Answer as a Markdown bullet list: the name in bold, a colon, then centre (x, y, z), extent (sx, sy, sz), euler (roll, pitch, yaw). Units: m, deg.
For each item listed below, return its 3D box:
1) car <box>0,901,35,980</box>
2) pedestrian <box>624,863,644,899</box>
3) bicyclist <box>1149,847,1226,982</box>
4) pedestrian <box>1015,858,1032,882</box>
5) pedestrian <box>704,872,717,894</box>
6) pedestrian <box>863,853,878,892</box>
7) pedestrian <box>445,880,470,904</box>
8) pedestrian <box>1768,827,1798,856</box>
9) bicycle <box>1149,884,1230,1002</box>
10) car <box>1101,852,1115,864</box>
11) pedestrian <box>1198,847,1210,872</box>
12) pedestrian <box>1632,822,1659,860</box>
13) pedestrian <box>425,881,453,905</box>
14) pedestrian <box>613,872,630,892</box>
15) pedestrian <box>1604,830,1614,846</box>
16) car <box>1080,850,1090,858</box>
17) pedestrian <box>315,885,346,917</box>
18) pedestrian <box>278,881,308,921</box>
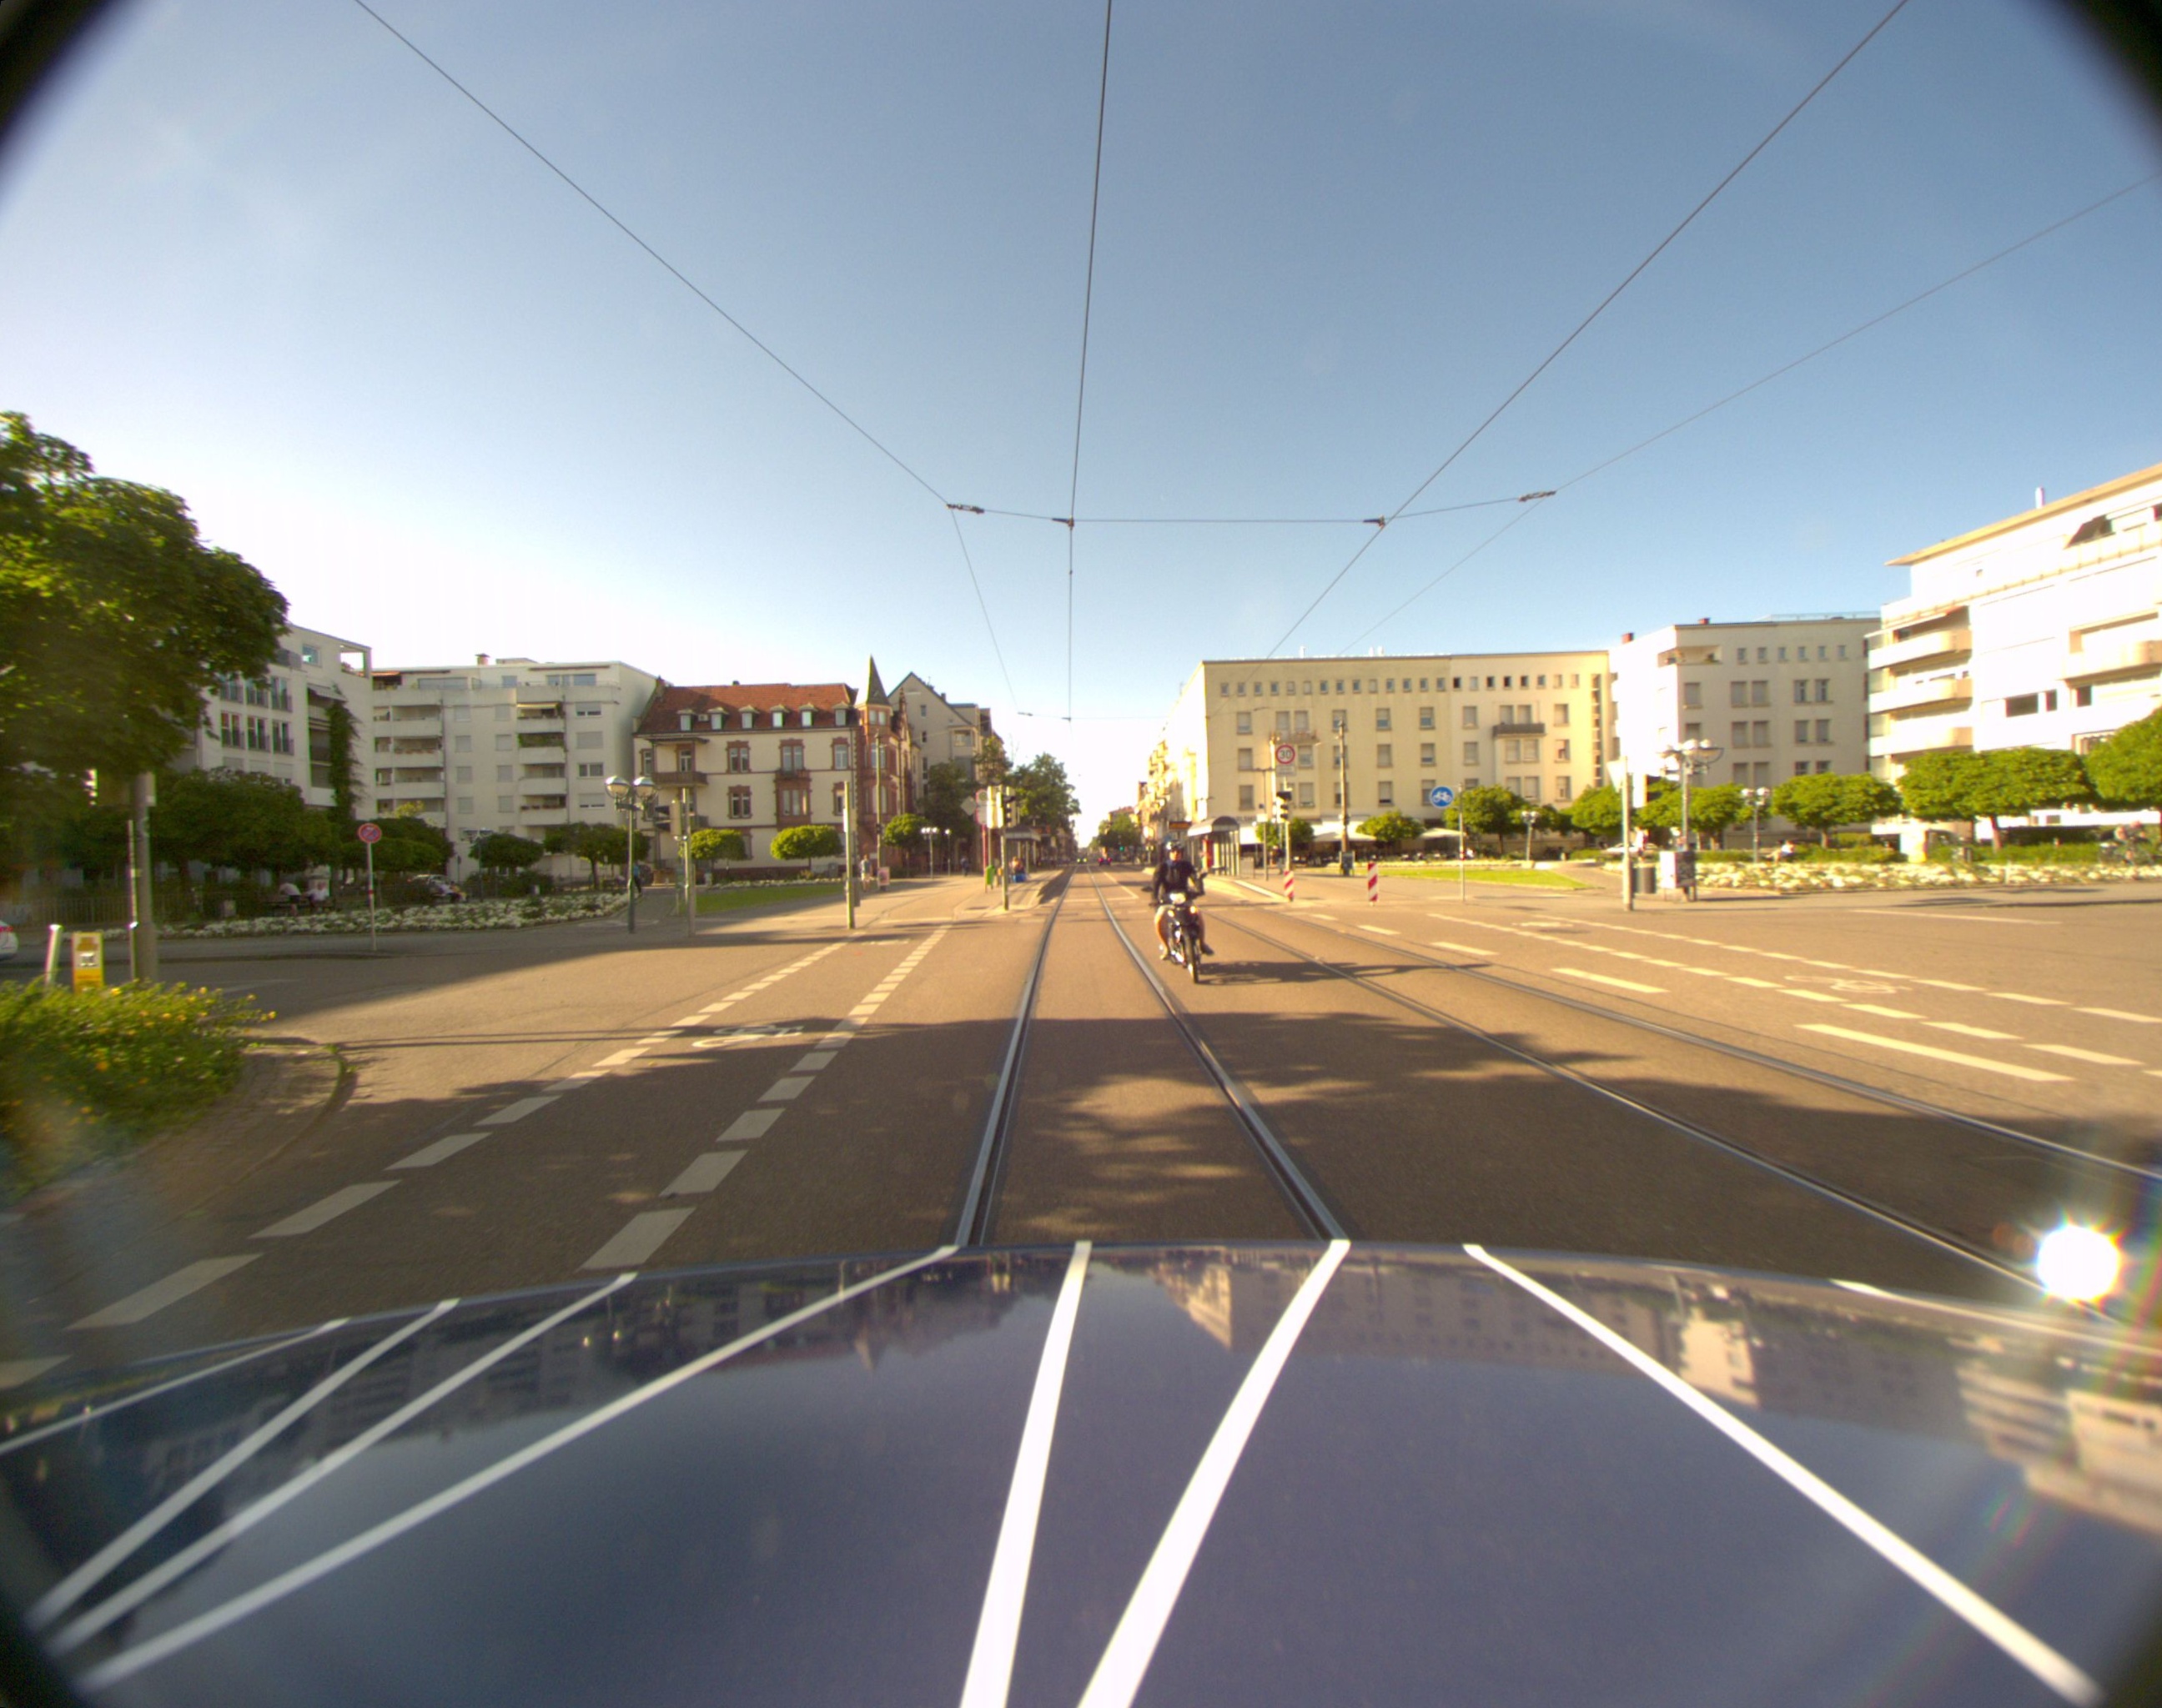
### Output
- **car**: centre (-22.880, 1.745, 14.130), extent (4.548, 1.454, 1.809), euler (-2, 1, 4)
- **pedestrian**: centre (-20.558, 1.224, 34.927), extent (0.650, 1.592, 0.700), euler (-3, 1, -35)
- **bicyclist**: centre (1.273, 0.698, 9.222), extent (0.774, 1.531, 0.939), euler (-2, 1, 2)
- **pedestrian**: centre (-3.000, 0.823, 39.692), extent (0.774, 1.197, 0.610), euler (-2, 1, -8)
- **pedestrian**: centre (-18.468, 1.427, 37.869), extent (0.453, 1.076, 0.449), euler (-3, 1, -39)
- **pedestrian**: centre (-10.650, 0.910, 38.464), extent (0.650, 1.944, 0.583), euler (-2, 1, -16)
- **pedestrian**: centre (-31.813, 1.948, 38.762), extent (0.717, 1.144, 0.637), euler (-2, 1, -8)
- **pedestrian**: centre (35.587, -0.626, 38.524), extent (0.838, 1.410, 0.667), euler (-2, 1, -1)
- **bicycle**: centre (1.263, 1.008, 9.166), extent (0.767, 1.192, 1.752), euler (-2, 1, 3)
- **car**: centre (4.033, 0.593, 113.822), extent (1.970, 1.577, 4.000), euler (-2, 0, 2)
- **pedestrian**: centre (7.575, 0.323, 46.909), extent (0.551, 1.482, 0.610), euler (-2, 1, -6)
- **pedestrian**: centre (25.256, -0.574, 34.019), extent (0.669, 1.686, 0.837), euler (-3, 1, -43)
- **pedestrian**: centre (-32.018, 1.929, 37.896), extent (0.768, 1.144, 0.637), euler (-2, 1, -8)
- **pedestrian**: centre (-32.070, 1.951, 52.995), extent (0.710, 1.285, 0.679), euler (-2, 1, -2)
- **pedestrian**: centre (40.863, -1.246, 58.806), extent (0.506, 1.215, 0.395), euler (-2, 1, 6)
- **car**: centre (0.835, -0.010, 152.735), extent (1.971, 1.577, 4.000), euler (-2, 0, 1)
- **pedestrian**: centre (-31.504, 1.974, 31.898), extent (0.561, 1.266, 0.700), euler (-2, 1, -10)
- **pedestrian**: centre (-31.544, 1.860, 30.435), extent (0.561, 1.534, 0.554), euler (-2, 1, -10)
